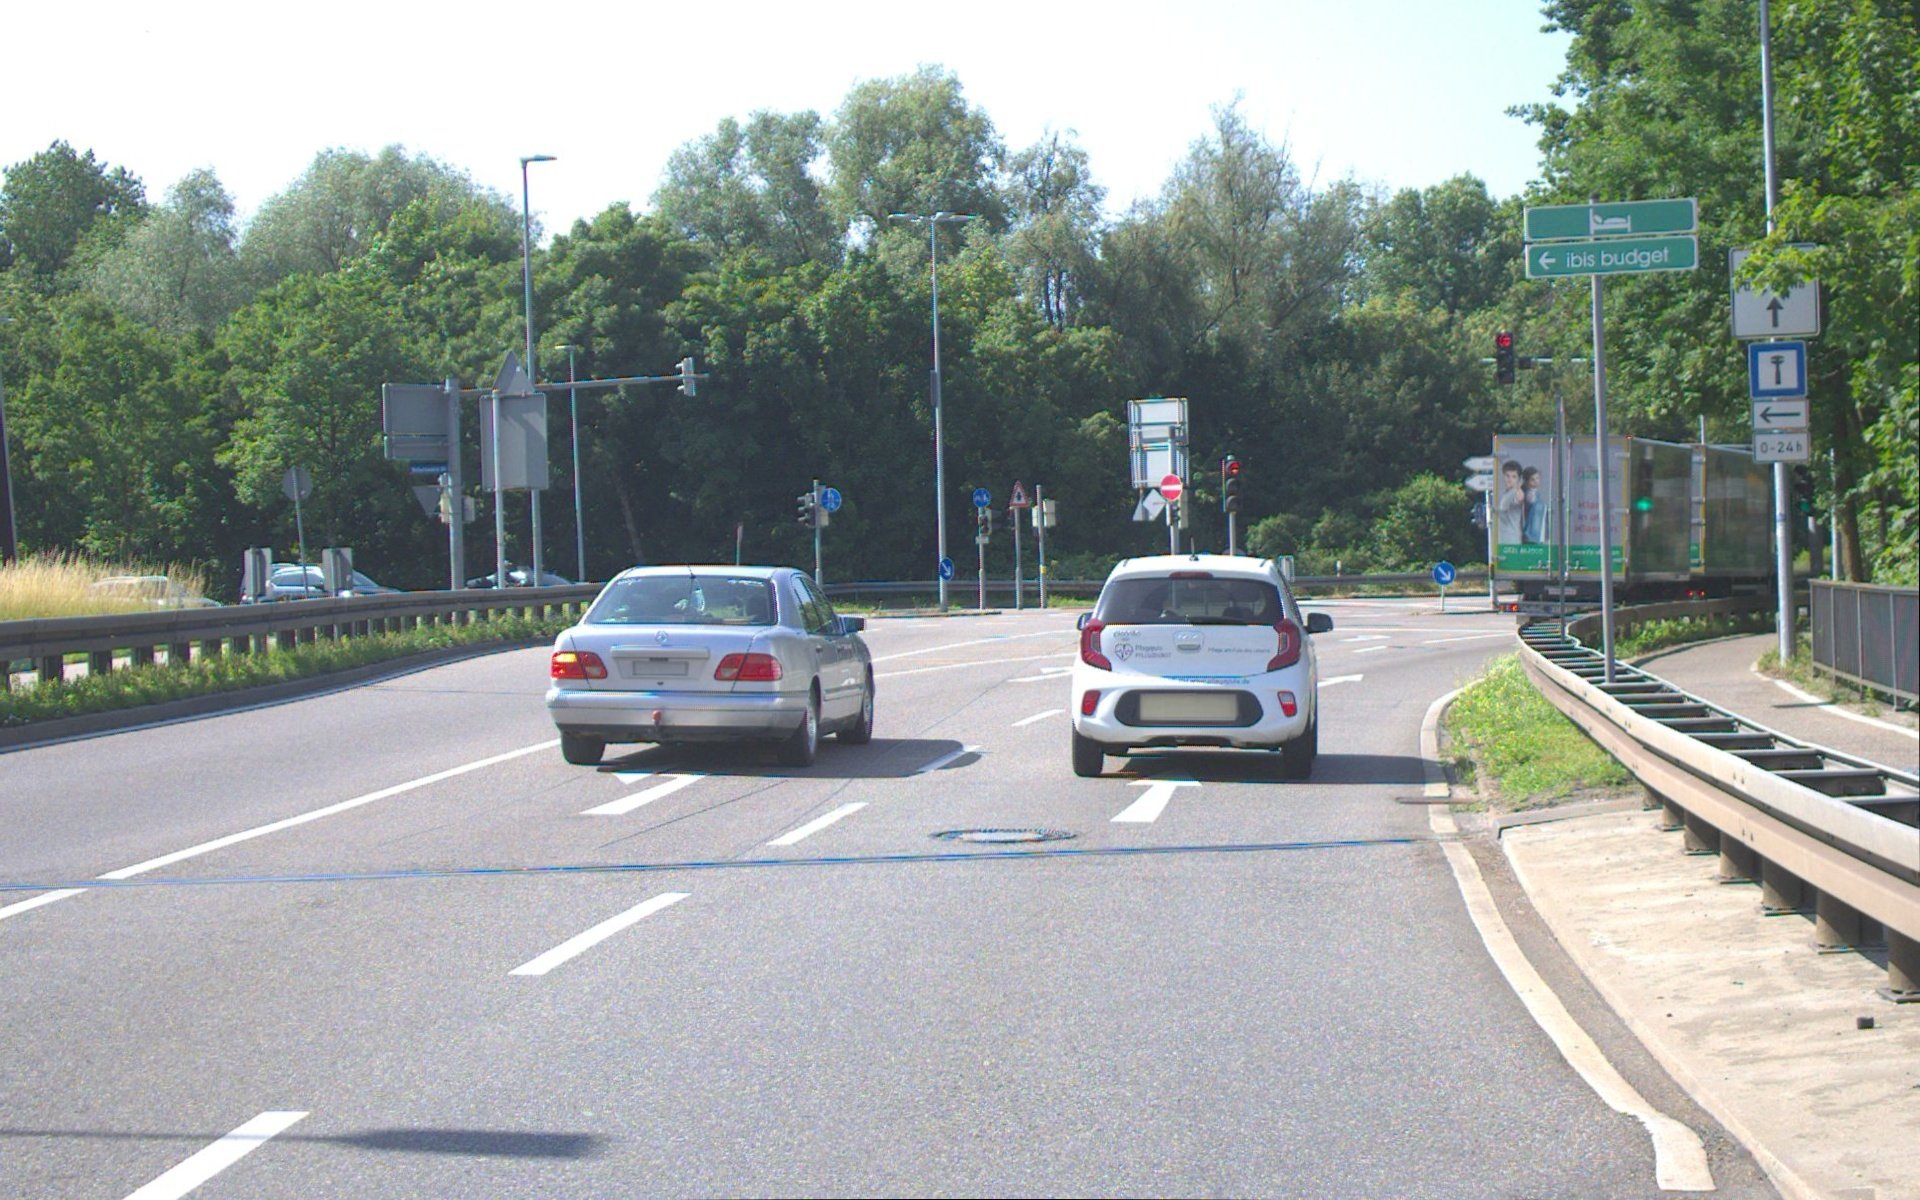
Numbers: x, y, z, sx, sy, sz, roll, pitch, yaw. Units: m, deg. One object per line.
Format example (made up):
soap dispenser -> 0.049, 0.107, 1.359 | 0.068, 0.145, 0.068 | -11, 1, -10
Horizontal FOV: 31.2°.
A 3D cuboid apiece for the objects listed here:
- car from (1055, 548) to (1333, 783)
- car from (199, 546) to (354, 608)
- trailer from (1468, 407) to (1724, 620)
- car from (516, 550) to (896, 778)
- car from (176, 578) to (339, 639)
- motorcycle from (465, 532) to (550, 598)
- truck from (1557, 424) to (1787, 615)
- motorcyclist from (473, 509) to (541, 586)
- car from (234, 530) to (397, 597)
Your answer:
car -> 1.731, 0.402, 24.329 | 1.702, 1.489, 3.999 | 1, 1, 7
car -> -17.974, -0.585, 90.339 | 3.995, 1.384, 1.763 | -4, -3, 37
trailer -> 12.267, -1.609, 65.685 | 3.228, 3.745, 7.816 | 3, 1, 22
car -> -1.744, 0.389, 25.345 | 1.939, 1.481, 4.899 | 1, 1, 6
car -> -18.662, 0.247, 91.280 | 3.995, 1.384, 2.119 | -4, -3, 37
motorcycle -> -11.532, -0.883, 87.616 | 1.980, 1.524, 0.897 | -5, -3, 35
truck -> 15.245, -1.683, 73.129 | 3.264, 3.745, 8.361 | 3, 1, 22
motorcyclist -> -11.547, -1.330, 87.618 | 1.462, 1.864, 0.890 | -3, -2, 35
car -> -15.865, -0.878, 84.545 | 3.995, 1.384, 1.698 | -4, -3, 37
